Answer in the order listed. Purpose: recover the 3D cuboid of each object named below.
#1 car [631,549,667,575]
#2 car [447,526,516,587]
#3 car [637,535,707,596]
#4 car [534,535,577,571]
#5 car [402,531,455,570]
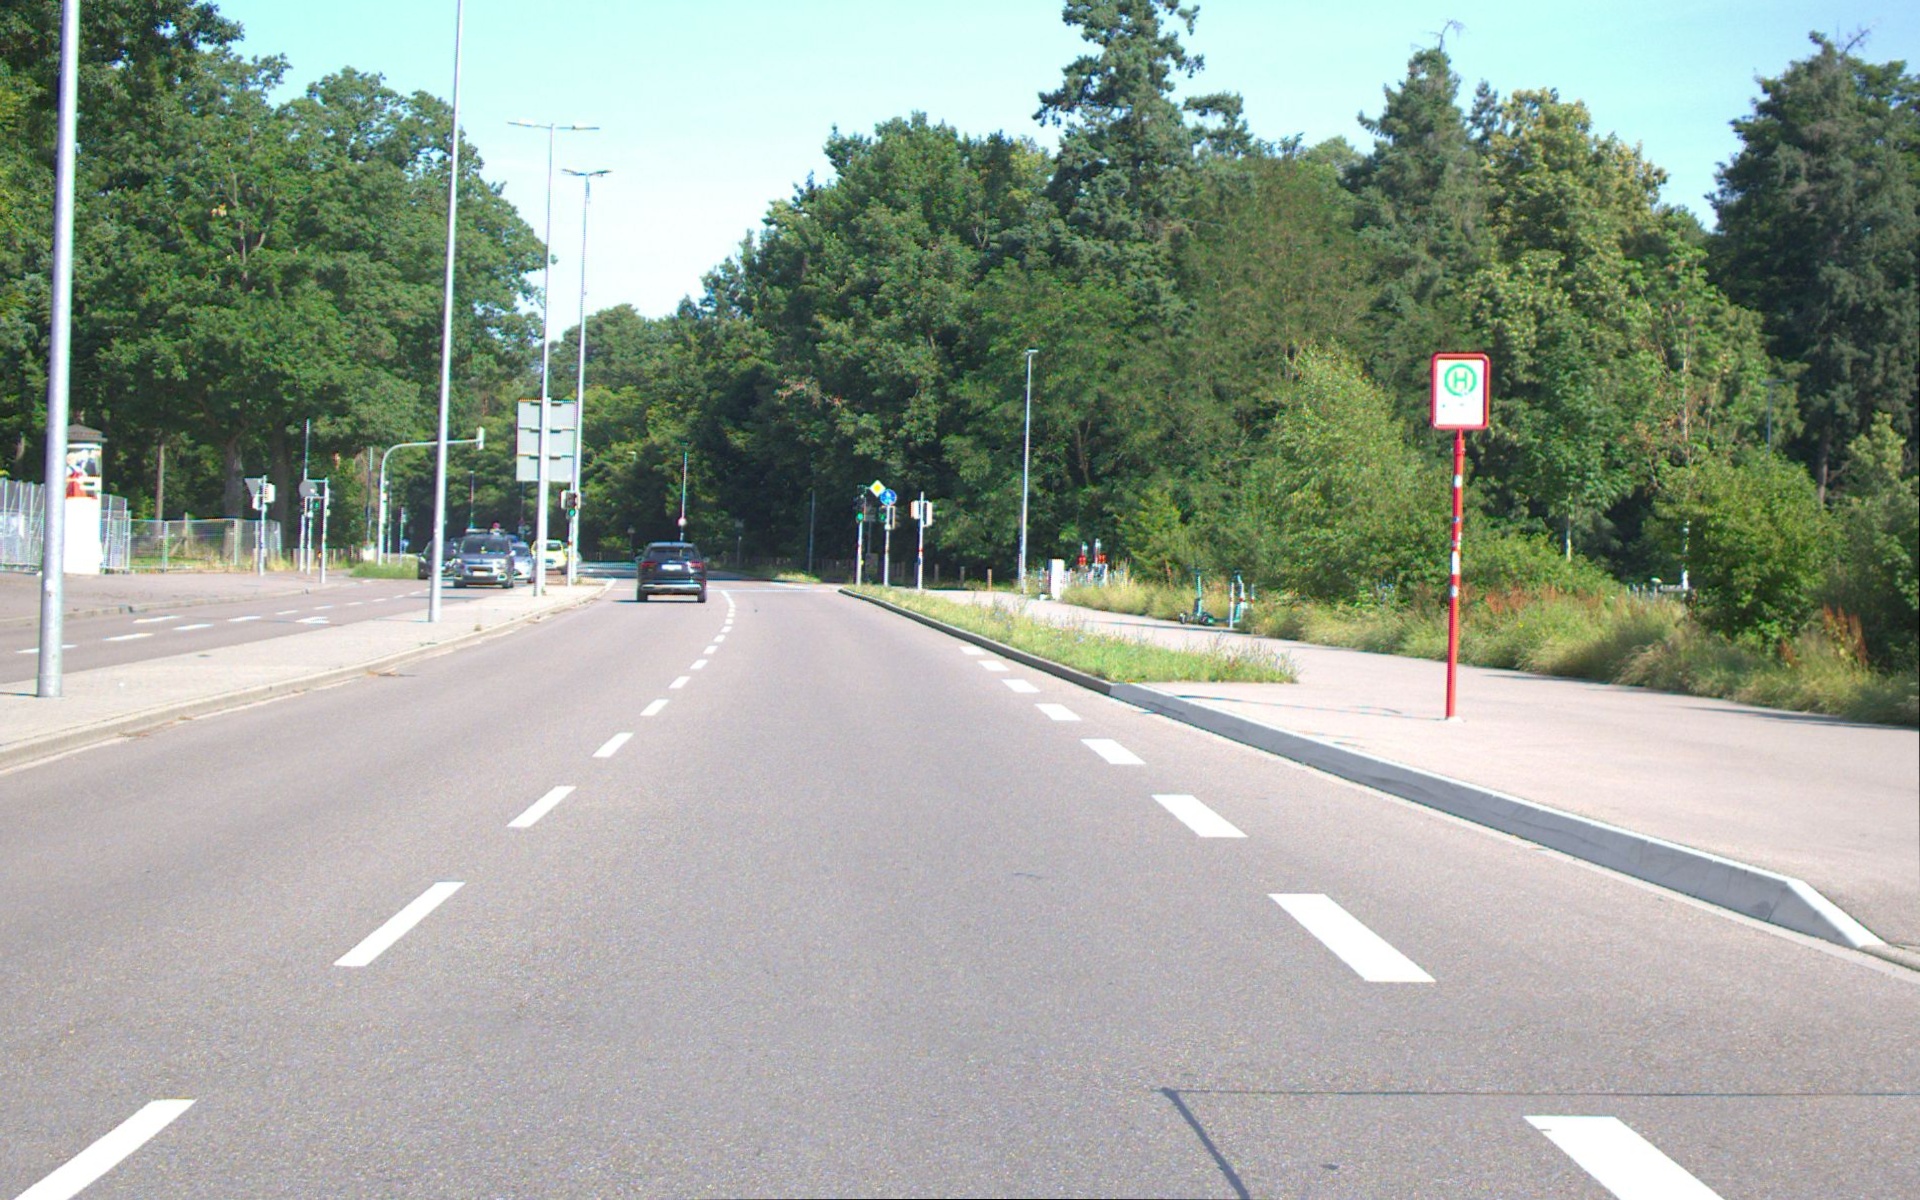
[{"bbox_3d":[-17.785,-2.182,196.736,1.940,1.415,4.294,2,1,-6],"label":"car"},{"bbox_3d":[-15.544,-1.423,111.838,1.841,1.925,4.630,1,1,-4],"label":"car"},{"bbox_3d":[-7.648,-0.922,91.040,1.687,1.539,4.149,1,1,-7],"label":"car"},{"bbox_3d":[-19.073,-2.220,162.246,1.845,1.612,4.001,2,1,-6],"label":"car"},{"bbox_3d":[-21.099,-1.976,136.620,1.794,1.473,4.001,2,1,-5],"label":"car"}]
